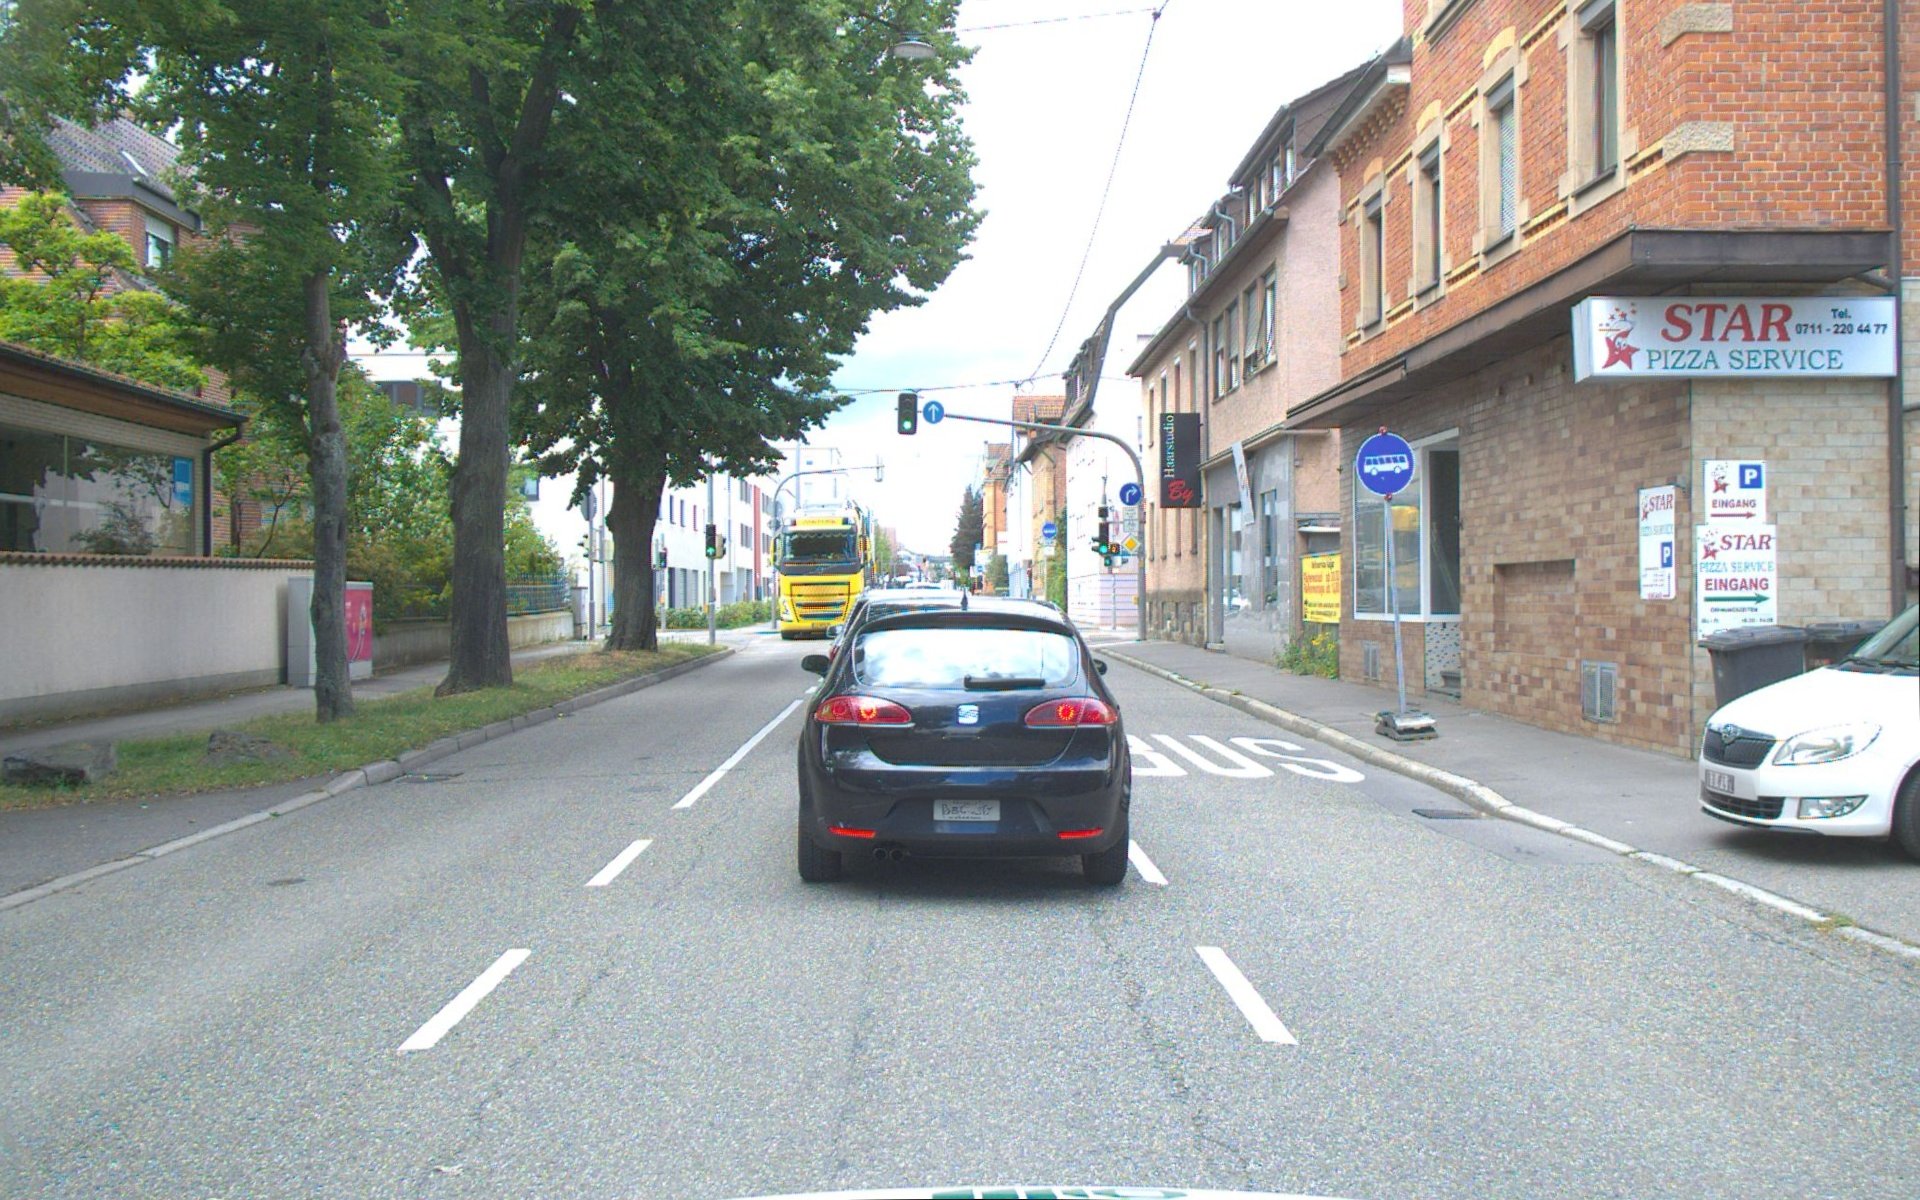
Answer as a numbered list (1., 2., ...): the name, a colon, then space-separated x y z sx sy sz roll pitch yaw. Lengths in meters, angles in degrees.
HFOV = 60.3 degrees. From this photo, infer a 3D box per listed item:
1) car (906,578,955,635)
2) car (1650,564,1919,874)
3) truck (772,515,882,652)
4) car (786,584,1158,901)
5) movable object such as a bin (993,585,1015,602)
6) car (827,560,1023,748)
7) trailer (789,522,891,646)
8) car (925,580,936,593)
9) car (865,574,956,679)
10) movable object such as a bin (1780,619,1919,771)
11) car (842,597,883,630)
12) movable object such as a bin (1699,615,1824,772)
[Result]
1. car: -0.947 0.191 52.596 1.500 1.723 3.692 1 0 -2
2. car: 6.263 0.502 9.399 3.949 1.495 1.600 -5 0 -3
3. truck: -3.953 -0.464 50.785 2.786 3.848 7.668 1 0 -1
4. car: 0.017 0.668 9.726 1.723 1.467 3.999 1 0 -1
5. movable object such as a bin: 3.751 -0.538 141.730 1.781 1.462 1.992 1 0 0
6. car: -0.379 0.506 17.378 1.805 1.723 3.999 1 0 -2
7. trailer: -4.078 -0.495 59.148 2.800 3.874 14.387 1 0 -1
8. car: -4.082 -1.894 230.601 1.500 1.722 3.692 -1 0 -2
9. car: -0.868 0.442 29.448 1.500 1.723 3.692 1 0 -2
10. movable object such as a bin: 6.734 0.703 12.490 0.684 1.077 0.723 -2 0 -1
11. car: -4.744 0.649 80.669 1.731 1.495 4.226 -3 0 -1
12. movable object such as a bin: 6.006 0.685 12.414 0.594 1.120 0.622 -2 0 -1
